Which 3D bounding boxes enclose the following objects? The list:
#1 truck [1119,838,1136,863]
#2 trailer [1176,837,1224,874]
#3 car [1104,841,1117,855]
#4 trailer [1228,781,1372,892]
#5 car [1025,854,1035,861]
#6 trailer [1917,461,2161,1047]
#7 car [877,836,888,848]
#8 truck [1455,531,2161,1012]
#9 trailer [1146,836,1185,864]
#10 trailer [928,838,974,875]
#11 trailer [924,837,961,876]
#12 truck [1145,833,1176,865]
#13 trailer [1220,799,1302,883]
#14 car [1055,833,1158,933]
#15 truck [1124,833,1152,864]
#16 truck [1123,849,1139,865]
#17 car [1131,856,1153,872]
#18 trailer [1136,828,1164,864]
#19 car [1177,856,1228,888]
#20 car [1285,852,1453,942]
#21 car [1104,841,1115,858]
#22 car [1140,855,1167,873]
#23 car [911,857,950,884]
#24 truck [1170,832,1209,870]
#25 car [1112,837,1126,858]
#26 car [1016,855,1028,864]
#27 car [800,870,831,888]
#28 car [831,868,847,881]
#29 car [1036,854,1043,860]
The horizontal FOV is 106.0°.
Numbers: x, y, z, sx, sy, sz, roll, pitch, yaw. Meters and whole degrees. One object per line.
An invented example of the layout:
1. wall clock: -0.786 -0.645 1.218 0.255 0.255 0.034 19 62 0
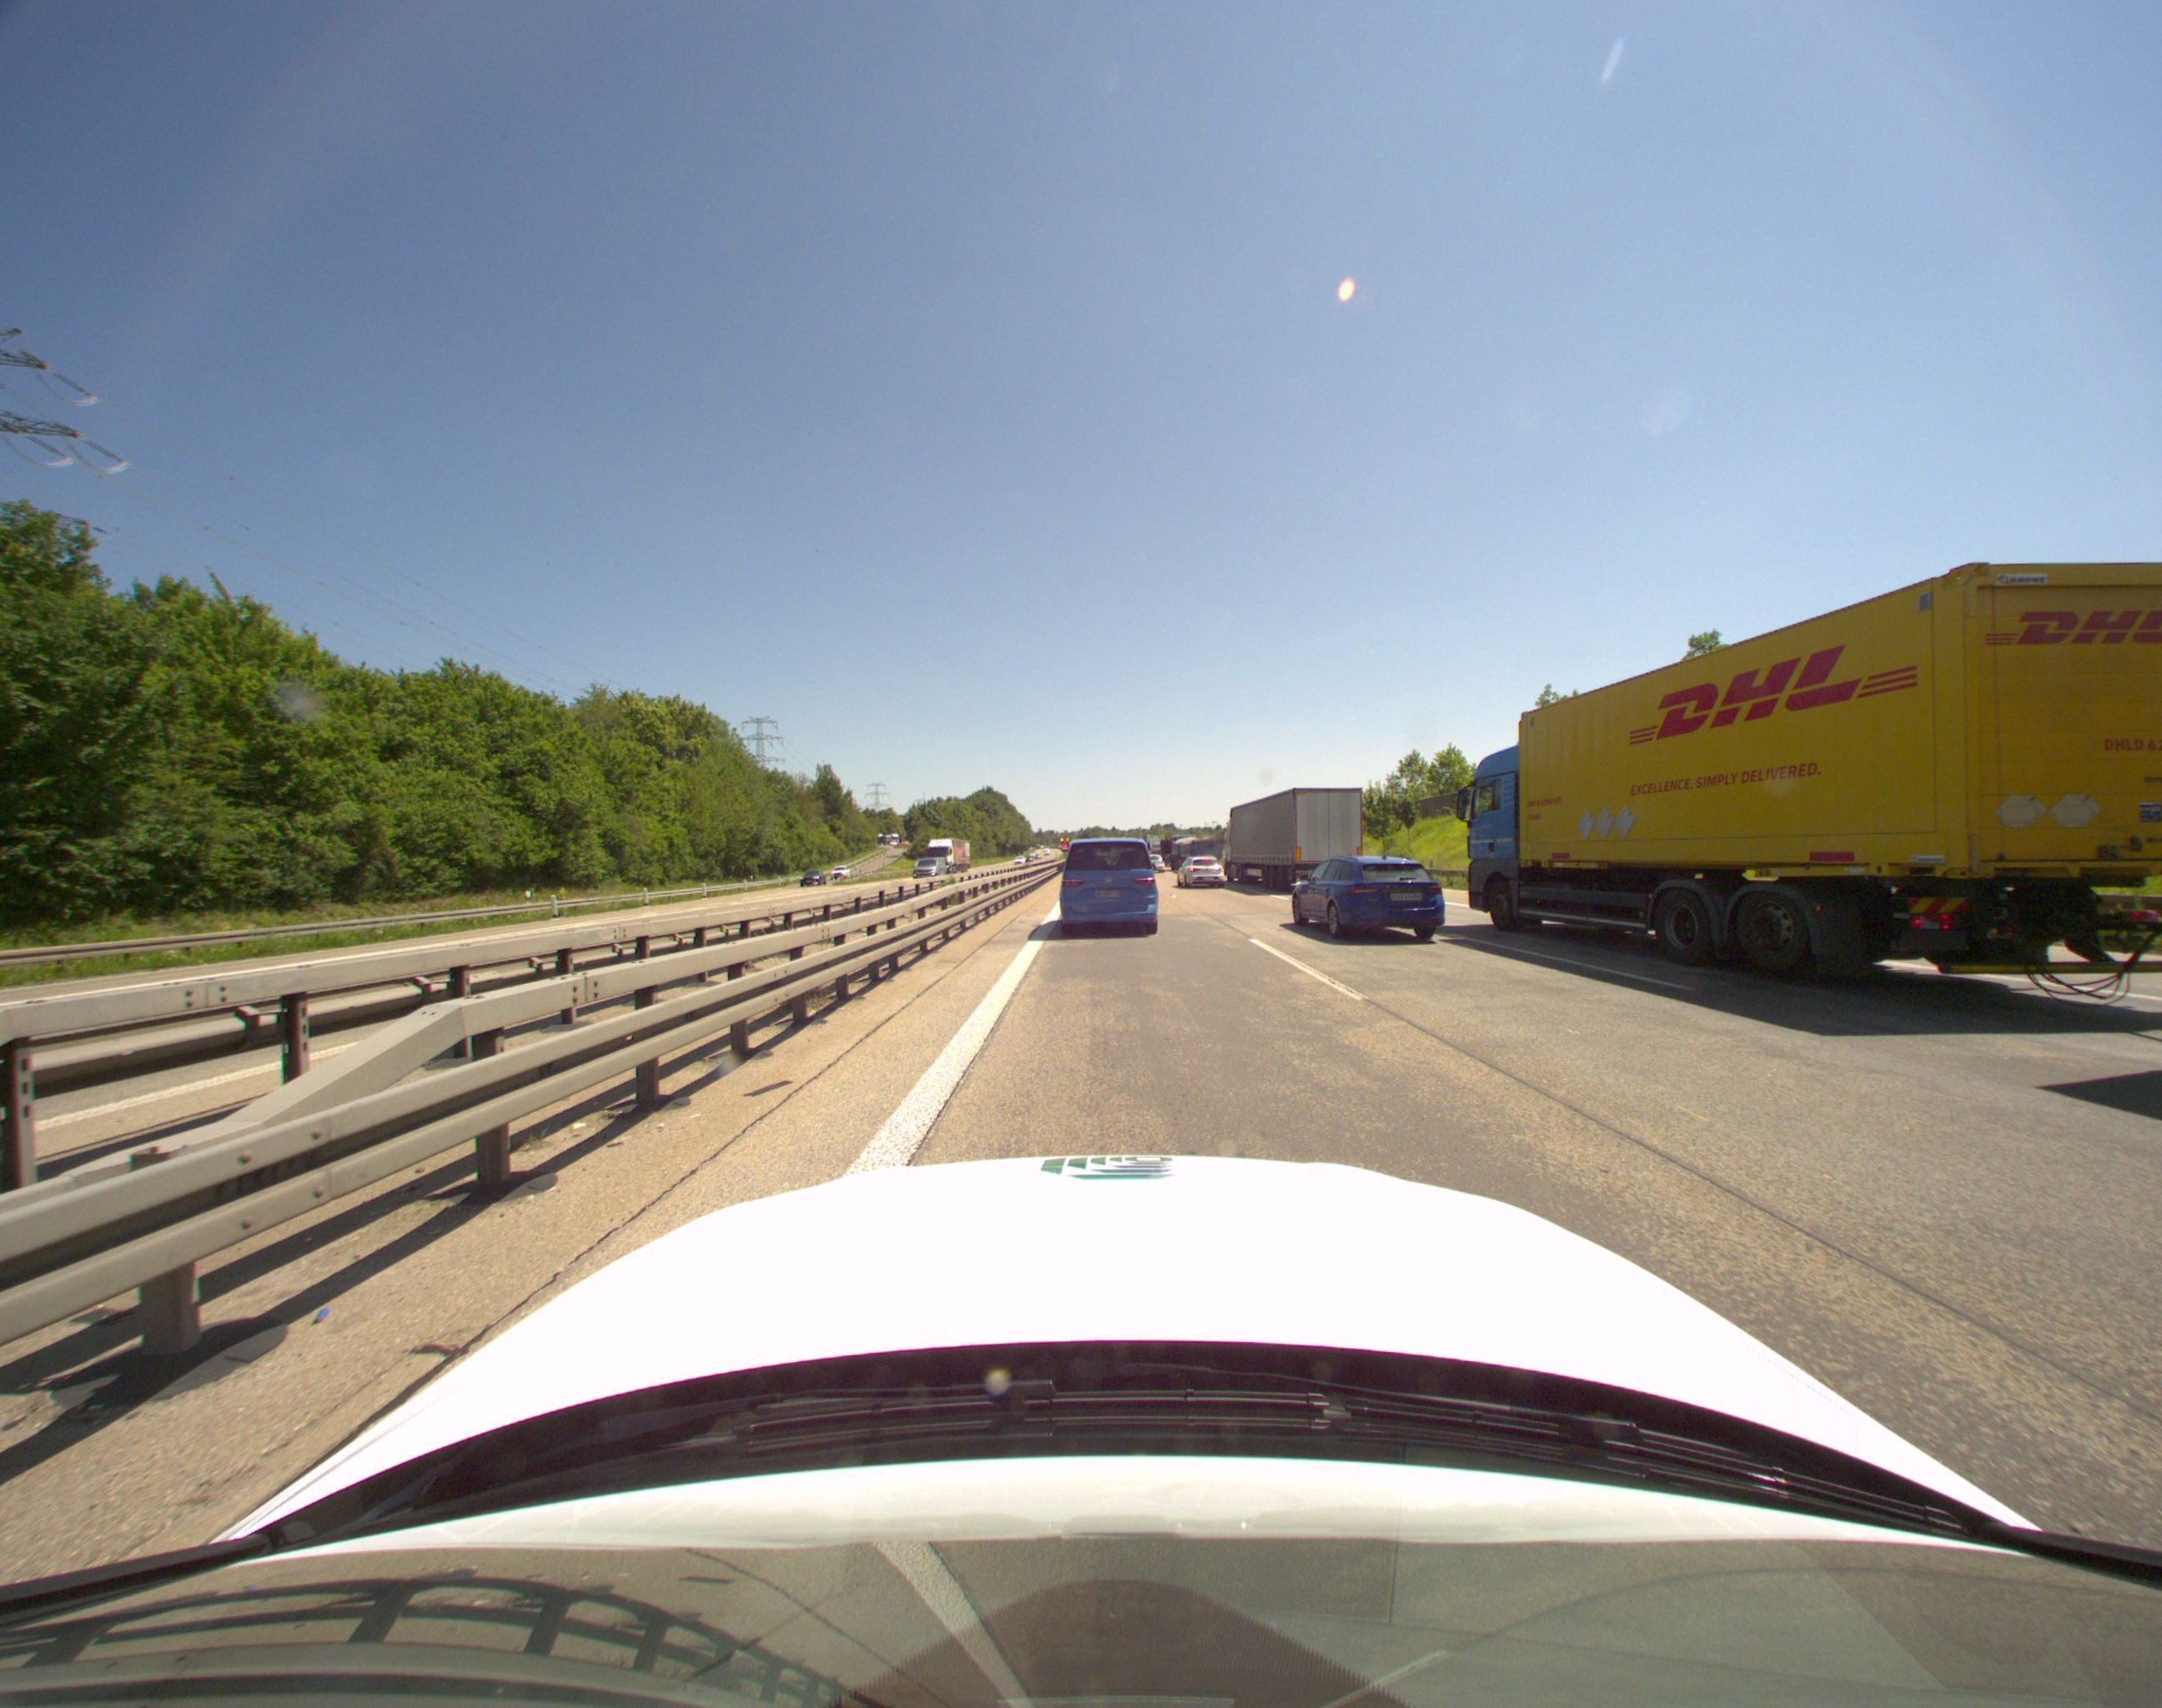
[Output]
1. truck: 9.693 -0.646 172.032 3.058 4.920 10.689 -1 -1 0
2. trailer: 9.717 0.058 67.349 2.734 2.836 9.117 -1 1 1
3. car: 5.942 -1.217 164.790 2.542 2.717 5.620 -1 -1 0
4. trailer: 9.321 -0.645 36.905 2.952 4.049 13.753 -1 0 1
5. car: -11.487 0.834 184.211 1.870 1.446 4.144 -3 -1 -1
6. trailer: 8.914 -0.719 2.710 2.755 4.117 9.378 -1 0 1
7. car: -51.263 -3.093 210.414 2.075 2.880 6.691 -2 -1 -18
8. truck: 9.094 -0.707 11.963 2.756 4.109 9.954 -1 0 1
9. trailer: 10.206 -0.326 99.689 3.632 3.079 15.778 -1 -1 2
10. trailer: -15.283 0.220 96.846 2.754 3.976 14.682 -3 0 1
11. trailer: -15.371 0.258 90.907 2.748 3.976 6.132 -3 0 0
12. truck: 10.494 -0.638 107.933 3.612 4.094 7.527 -1 -1 2
13. trailer: 9.376 -0.634 43.055 2.914 4.044 6.411 -1 0 1
14. car: 0.544 0.566 17.064 1.894 1.838 4.001 -1 -1 2
15. truck: 10.198 -0.824 147.049 3.611 5.213 15.681 0 -1 -1
16. truck: 5.792 0.397 94.742 1.719 1.857 3.999 -1 -1 0
17. car: 5.781 0.971 77.726 1.775 1.524 3.999 -1 -1 0
18. trailer: 10.434 -1.089 123.964 3.632 5.136 13.083 -1 -1 3
19. car: 5.510 0.791 37.402 1.860 1.361 4.002 -1 0 2
20. car: 5.247 0.725 15.473 1.700 1.441 4.428 -1 -1 1
21. car: 9.090 -1.340 263.731 3.208 5.257 8.141 0 -1 -1
22. car: 5.957 0.802 67.208 1.834 1.454 3.999 -1 -1 0
23. car: -11.562 1.252 62.868 1.986 1.941 4.898 -1 -1 1
24. truck: 9.845 -0.305 74.618 2.734 3.311 7.135 -1 1 1
25. car: 9.567 -1.632 206.089 3.208 5.257 8.142 -1 -1 0
26. car: -11.003 1.067 151.786 1.845 1.467 4.303 -3 -1 -1
27. car: -25.167 2.318 77.349 1.993 1.576 5.258 0 -1 -9
28. car: -28.392 2.408 95.567 1.688 1.456 4.323 0 -1 -15
29. car: -11.398 0.752 223.679 1.768 1.631 3.948 0 -1 -2
